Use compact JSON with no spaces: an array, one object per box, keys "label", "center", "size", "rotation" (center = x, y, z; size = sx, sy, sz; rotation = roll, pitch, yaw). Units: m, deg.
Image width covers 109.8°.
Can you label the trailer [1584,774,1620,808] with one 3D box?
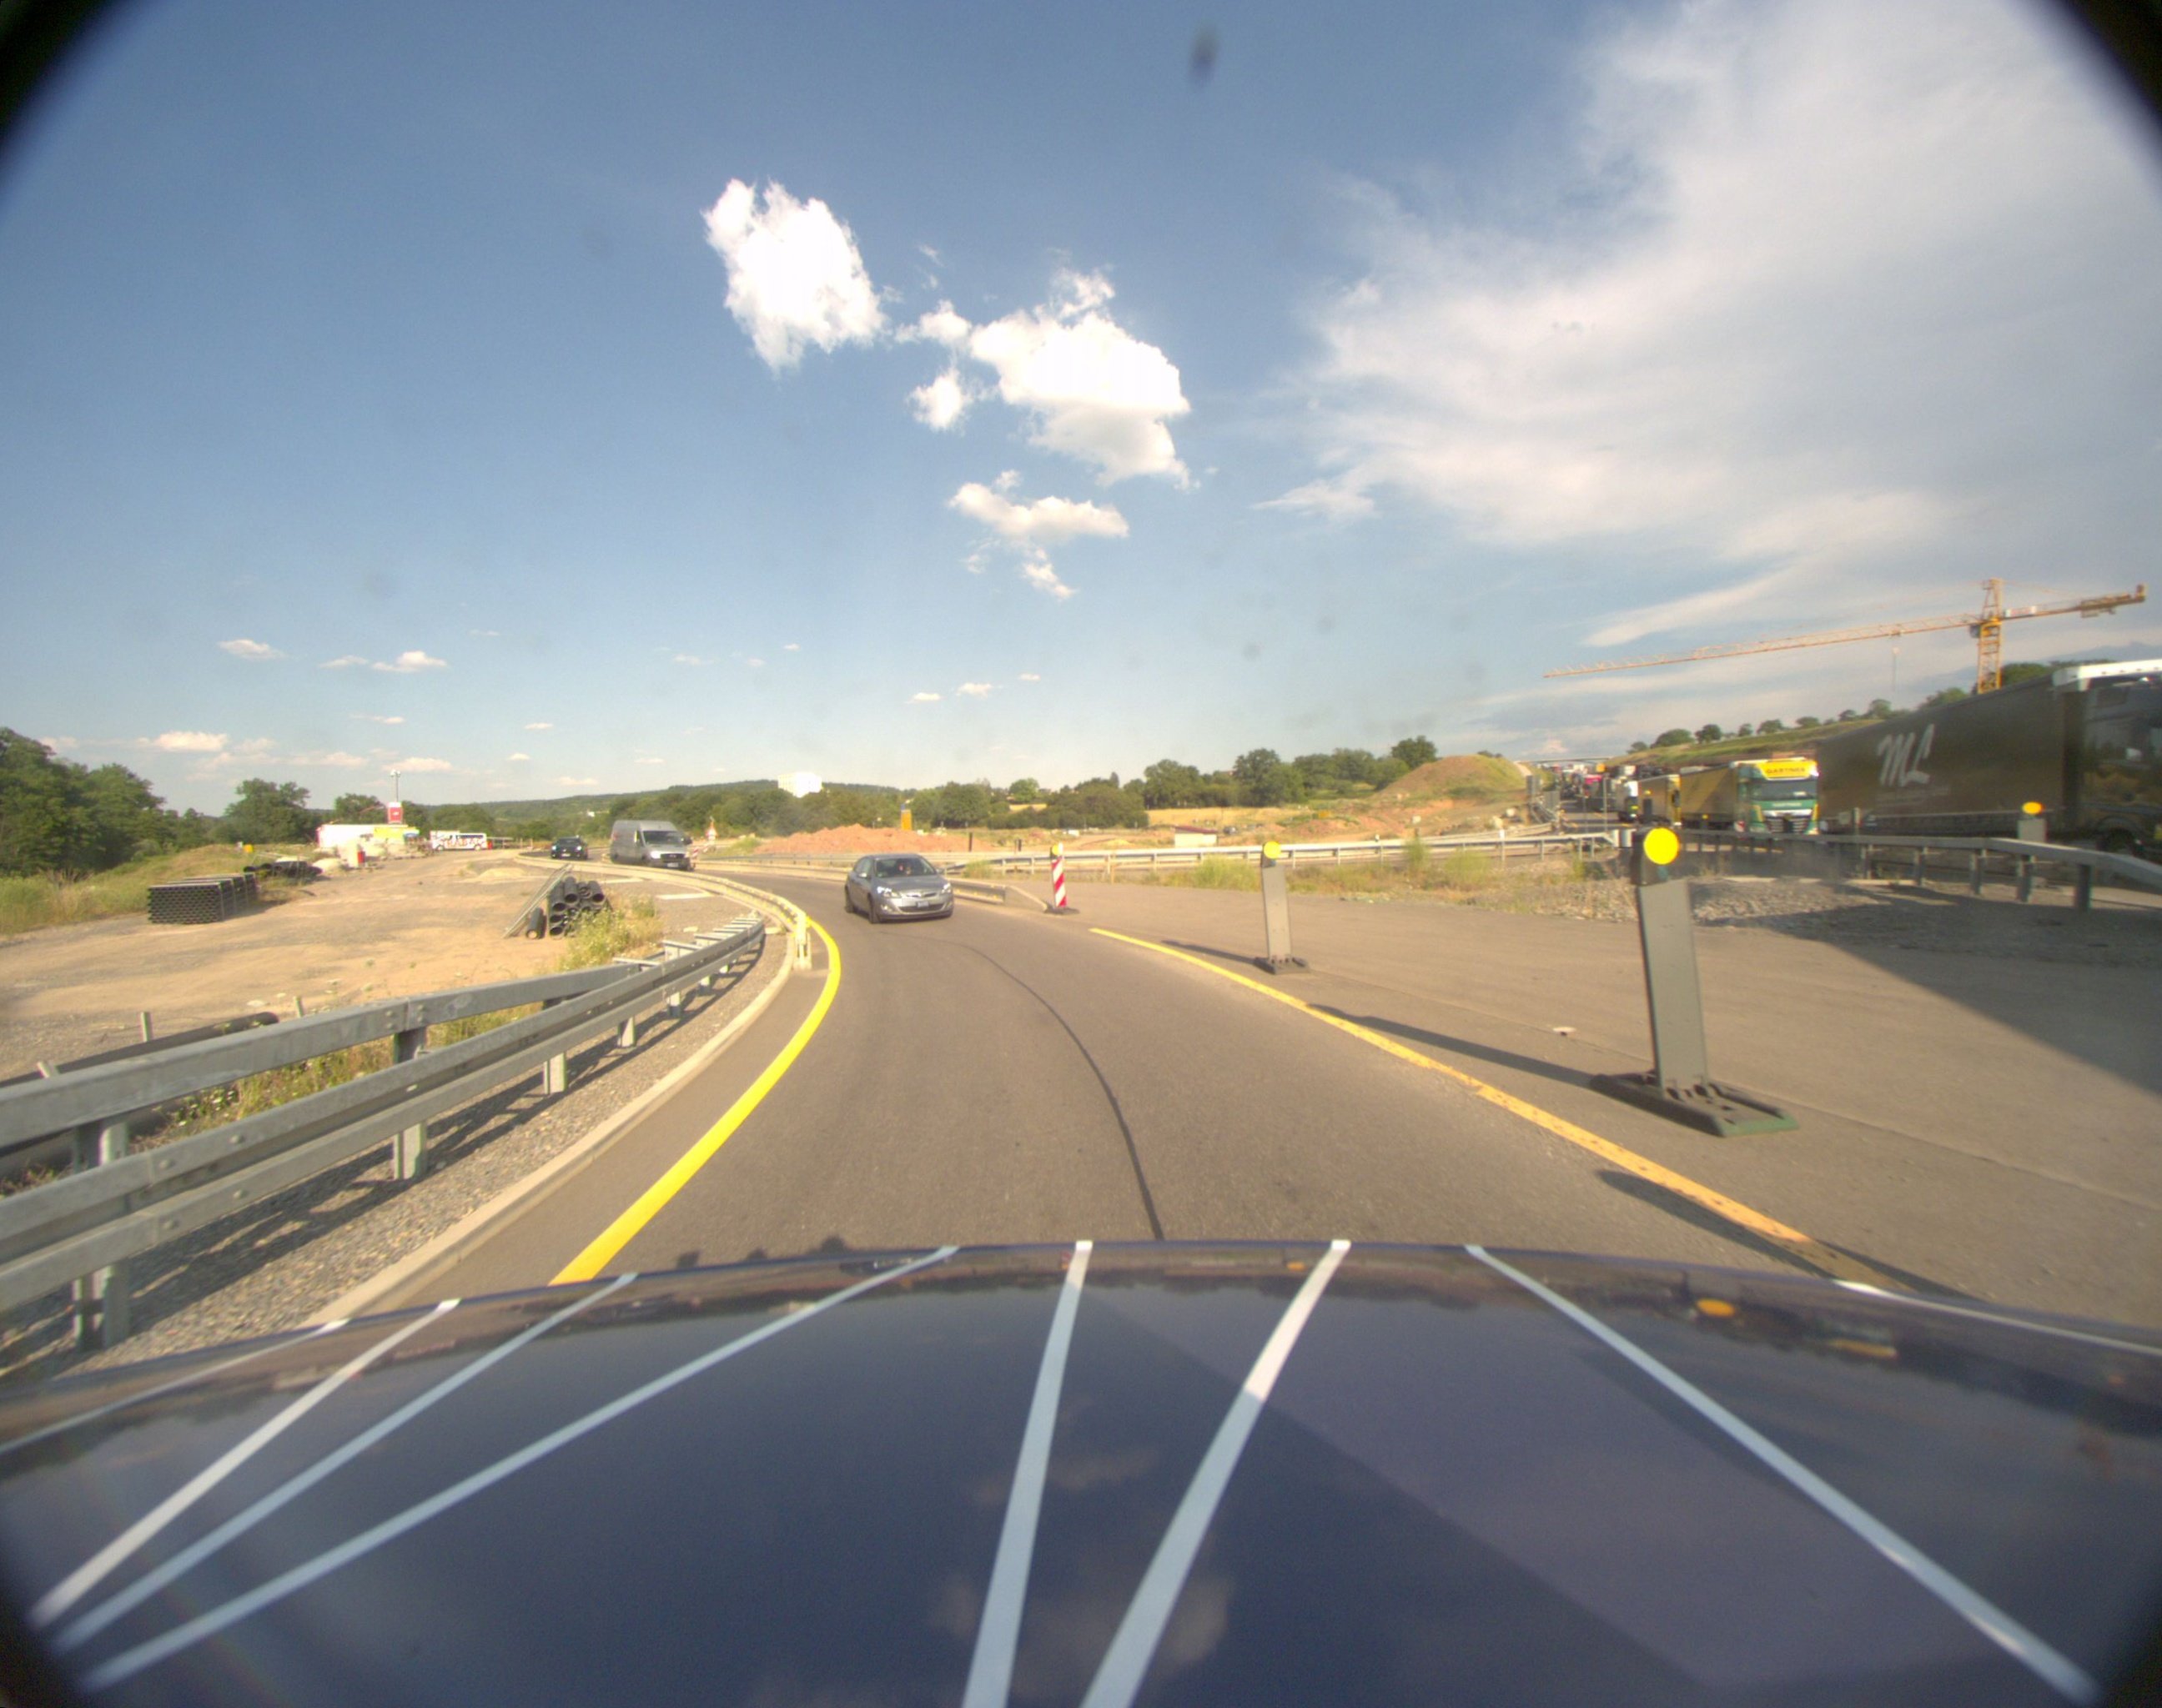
[{"label":"trailer","center":[71.896,-8.517,105.116],"size":[3.105,4.291,14.274],"rotation":[2,3,31]}]

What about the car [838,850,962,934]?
[{"label":"car","center":[-4.324,0.762,17.640],"size":[1.751,1.477,4.241],"rotation":[-4,4,-27]}]

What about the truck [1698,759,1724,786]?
[{"label":"truck","center":[120.737,-15.540,145.634],"size":[3.562,4.388,13.198],"rotation":[2,4,39]}]

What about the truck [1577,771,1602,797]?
[{"label":"truck","center":[89.385,-12.256,133.594],"size":[3.105,4.291,6.907],"rotation":[2,4,31]}]

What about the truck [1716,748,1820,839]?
[{"label":"truck","center":[32.614,-2.788,36.316],"size":[2.482,3.880,6.021],"rotation":[0,3,30]}]

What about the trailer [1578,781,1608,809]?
[{"label":"trailer","center":[82.585,-9.414,122.825],"size":[3.105,4.291,14.274],"rotation":[2,3,31]}]

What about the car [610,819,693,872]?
[{"label":"car","center":[-21.893,-0.508,38.597],"size":[5.779,2.487,1.921],"rotation":[2,4,43]}]

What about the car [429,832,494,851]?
[{"label":"car","center":[-70.955,-1.476,87.076],"size":[2.479,2.068,5.329],"rotation":[2,4,42]}]

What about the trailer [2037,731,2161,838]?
[{"label":"trailer","center":[40.232,-2.507,27.919],"size":[3.008,3.731,9.585],"rotation":[2,4,31]}]

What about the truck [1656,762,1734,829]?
[{"label":"truck","center":[42.287,-3.917,52.580],"size":[3.105,4.291,6.907],"rotation":[2,4,31]}]

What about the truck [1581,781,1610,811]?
[{"label":"truck","center":[79.142,-8.857,116.987],"size":[3.105,4.291,6.907],"rotation":[2,4,31]}]

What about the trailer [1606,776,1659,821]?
[{"label":"trailer","center":[57.681,-5.660,79.771],"size":[3.105,4.291,14.274],"rotation":[2,3,31]}]

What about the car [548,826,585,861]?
[{"label":"car","center":[-38.077,-0.827,56.197],"size":[1.880,2.390,3.988],"rotation":[-3,4,-39]}]

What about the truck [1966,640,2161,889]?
[{"label":"truck","center":[19.896,-1.590,14.049],"size":[2.482,4.038,6.020],"rotation":[0,3,28]}]

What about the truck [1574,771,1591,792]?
[{"label":"truck","center":[102.697,-14.853,155.668],"size":[2.516,3.980,8.567],"rotation":[2,4,32]}]

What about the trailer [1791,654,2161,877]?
[{"label":"trailer","center":[22.833,-1.924,19.844],"size":[2.482,4.039,13.650],"rotation":[0,3,27]}]

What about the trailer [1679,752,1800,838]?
[{"label":"trailer","center":[35.856,-3.071,41.969],"size":[2.482,3.937,13.997],"rotation":[0,3,30]}]

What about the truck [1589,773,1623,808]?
[{"label":"truck","center":[67.851,-8.133,98.340],"size":[3.105,4.291,6.907],"rotation":[2,4,31]}]

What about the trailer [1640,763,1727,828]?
[{"label":"trailer","center":[44.958,-4.206,57.191],"size":[3.105,4.291,14.274],"rotation":[2,3,31]}]

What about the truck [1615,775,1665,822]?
[{"label":"truck","center":[54.093,-5.286,73.669],"size":[3.105,4.291,6.907],"rotation":[2,4,31]}]
